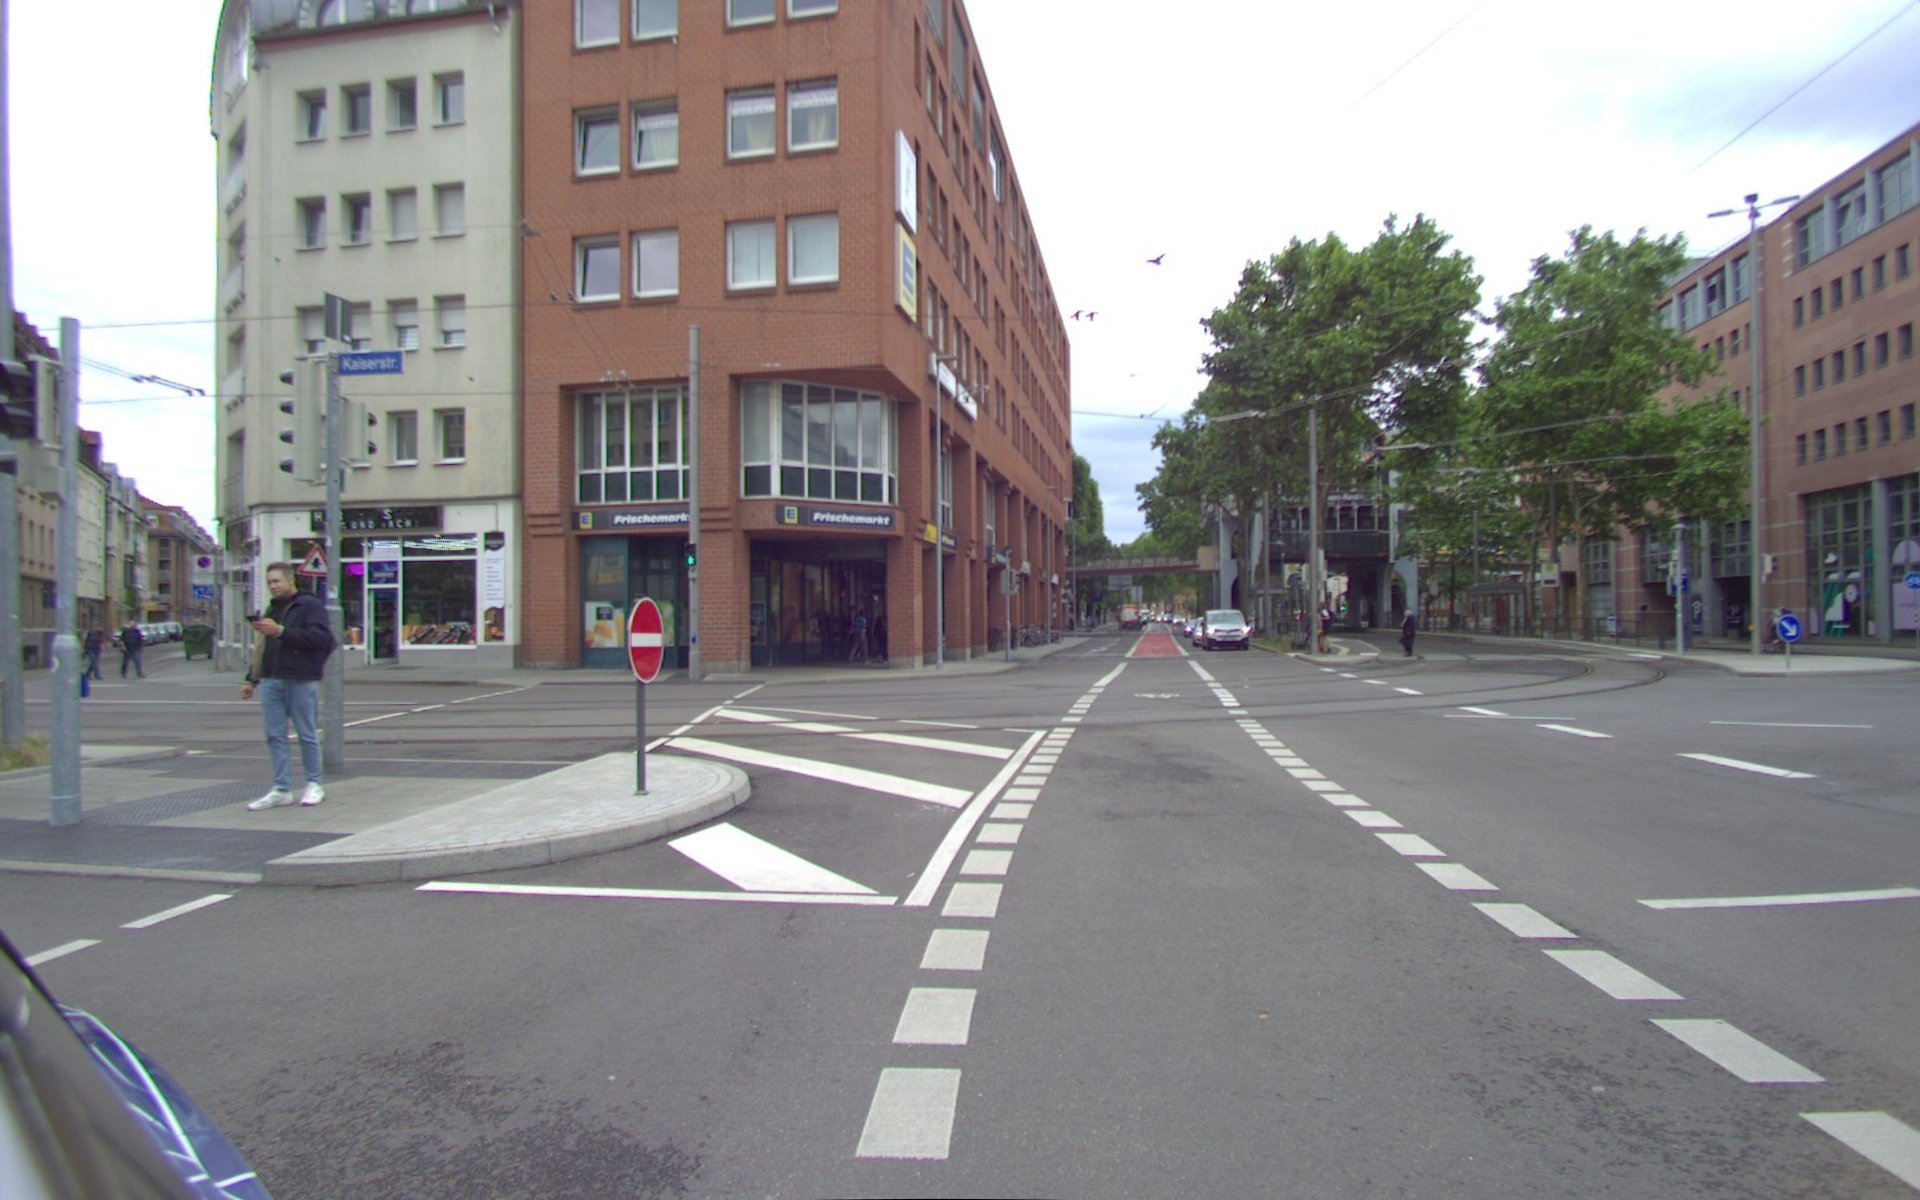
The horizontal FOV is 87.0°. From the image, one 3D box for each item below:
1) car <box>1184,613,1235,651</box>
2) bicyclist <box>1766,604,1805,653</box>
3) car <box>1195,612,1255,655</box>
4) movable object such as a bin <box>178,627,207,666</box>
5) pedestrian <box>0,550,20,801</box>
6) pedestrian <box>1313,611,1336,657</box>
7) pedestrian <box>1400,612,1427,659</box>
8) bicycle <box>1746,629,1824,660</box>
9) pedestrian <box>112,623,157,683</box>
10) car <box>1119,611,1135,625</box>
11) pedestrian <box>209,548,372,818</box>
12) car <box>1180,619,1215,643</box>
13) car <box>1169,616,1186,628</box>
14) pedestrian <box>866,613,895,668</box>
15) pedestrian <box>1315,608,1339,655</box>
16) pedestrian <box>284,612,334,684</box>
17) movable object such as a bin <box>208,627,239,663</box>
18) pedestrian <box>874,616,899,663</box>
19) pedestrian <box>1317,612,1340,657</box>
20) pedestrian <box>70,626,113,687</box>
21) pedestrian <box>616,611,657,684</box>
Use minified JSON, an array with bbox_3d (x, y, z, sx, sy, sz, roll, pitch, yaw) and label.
[{"bbox_3d":[12.532,1.609,50.974,1.904,1.807,3.992,-1,-1,6],"label":"car"},{"bbox_3d":[31.252,1.065,38.333,0.829,1.826,0.874,-1,0,14],"label":"bicyclist"},{"bbox_3d":[11.579,1.458,44.418,1.904,1.807,3.992,-1,-1,6],"label":"car"},{"bbox_3d":[-31.056,1.854,40.969,0.931,1.512,1.241,0,-1,-37],"label":"movable object such as a bin"},{"bbox_3d":[-7.692,0.572,7.414,0.790,1.904,0.897,0,0,9],"label":"pedestrian"},{"bbox_3d":[12.944,1.198,35.926,0.622,1.624,0.573,1,0,4],"label":"pedestrian"},{"bbox_3d":[15.492,1.201,34.578,0.738,1.572,0.571,1,0,17],"label":"pedestrian"},{"bbox_3d":[31.255,1.668,38.410,0.895,1.053,3.264,-1,-1,12],"label":"bicycle"},{"bbox_3d":[-24.015,1.525,29.431,0.919,1.700,0.656,0,-2,27],"label":"pedestrian"},{"bbox_3d":[22.678,2.484,137.427,1.908,1.807,3.693,-1,-1,11],"label":"car"},{"bbox_3d":[-4.952,0.585,7.515,0.790,1.904,0.610,0,-1,9],"label":"pedestrian"},{"bbox_3d":[16.683,2.162,71.227,1.904,1.575,3.862,-1,-1,6],"label":"car"},{"bbox_3d":[27.236,2.767,126.593,1.658,1.559,3.699,-1,-1,6],"label":"car"},{"bbox_3d":[-2.484,1.255,31.778,0.789,1.696,0.744,0,0,7],"label":"pedestrian"},{"bbox_3d":[12.501,1.059,34.484,0.622,1.586,0.573,1,0,4],"label":"pedestrian"},{"bbox_3d":[-15.494,1.136,24.099,0.712,1.700,0.662,1,-2,-1],"label":"pedestrian"},{"bbox_3d":[-30.255,1.816,41.545,0.994,1.416,1.241,0,-1,-37],"label":"movable object such as a bin"},{"bbox_3d":[-2.684,1.431,37.073,0.789,1.696,0.744,0,0,7],"label":"pedestrian"},{"bbox_3d":[13.336,1.234,36.644,0.622,1.624,0.573,1,0,4],"label":"pedestrian"},{"bbox_3d":[-24.596,1.580,28.675,0.719,1.700,0.656,0,-2,27],"label":"pedestrian"},{"bbox_3d":[-7.809,1.131,24.422,0.786,1.696,0.572,0,0,-37],"label":"pedestrian"}]
